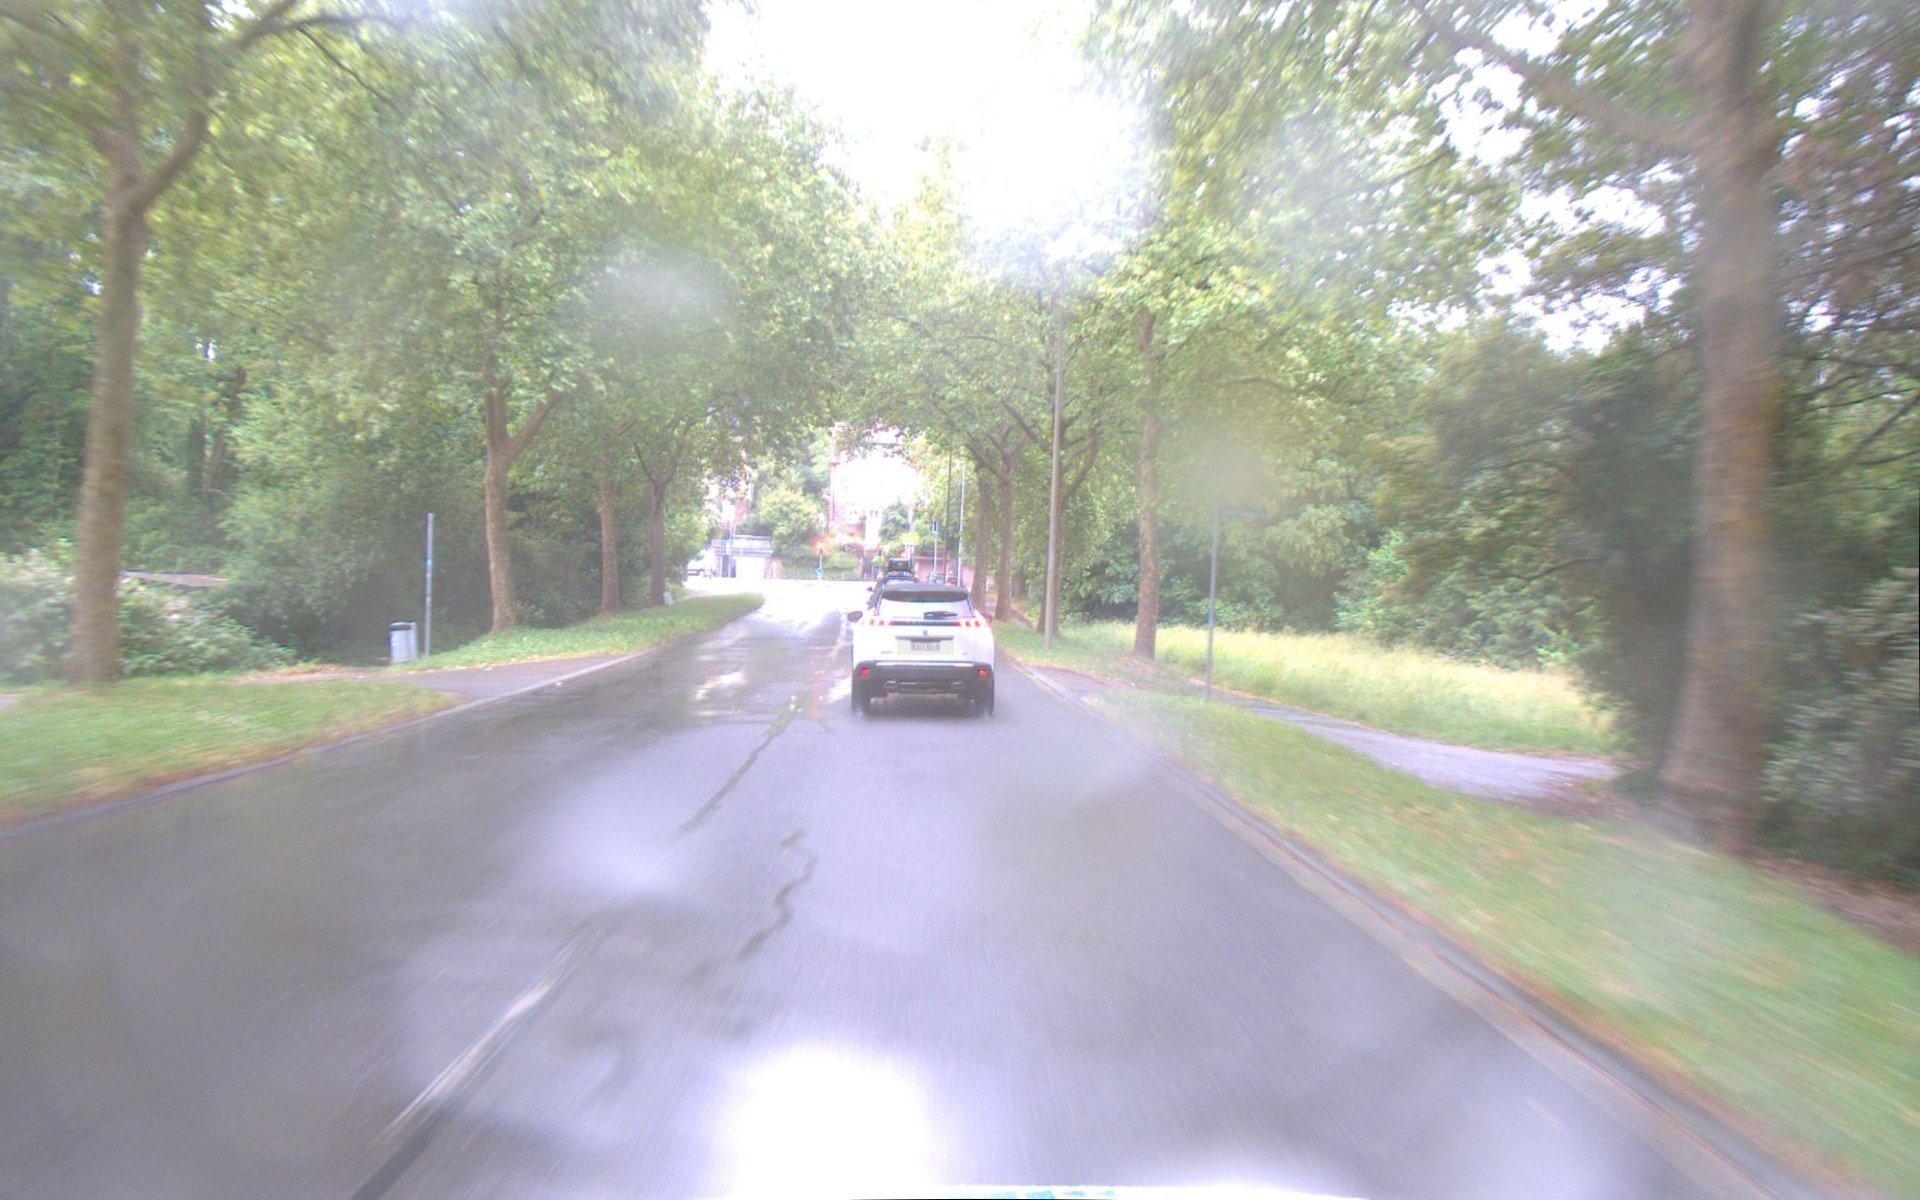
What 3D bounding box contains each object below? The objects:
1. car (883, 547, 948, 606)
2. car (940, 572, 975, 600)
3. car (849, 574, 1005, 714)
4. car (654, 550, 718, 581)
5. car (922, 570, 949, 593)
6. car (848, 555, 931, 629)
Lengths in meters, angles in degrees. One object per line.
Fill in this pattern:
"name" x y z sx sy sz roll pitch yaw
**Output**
"car" -1.514 -0.819 54.995 1.727 1.740 4.596 3 2 -6
"car" -0.180 -0.990 114.881 1.787 1.542 3.739 9 2 -7
"car" -0.527 0.476 21.360 1.718 1.562 4.364 1 1 -5
"car" -25.628 -3.213 155.016 5.548 2.537 2.314 3 0 -4
"car" -1.852 -1.394 124.372 1.716 1.517 3.596 5 1 -5
"car" -1.765 -0.240 40.308 1.796 1.481 4.656 5 2 -4
